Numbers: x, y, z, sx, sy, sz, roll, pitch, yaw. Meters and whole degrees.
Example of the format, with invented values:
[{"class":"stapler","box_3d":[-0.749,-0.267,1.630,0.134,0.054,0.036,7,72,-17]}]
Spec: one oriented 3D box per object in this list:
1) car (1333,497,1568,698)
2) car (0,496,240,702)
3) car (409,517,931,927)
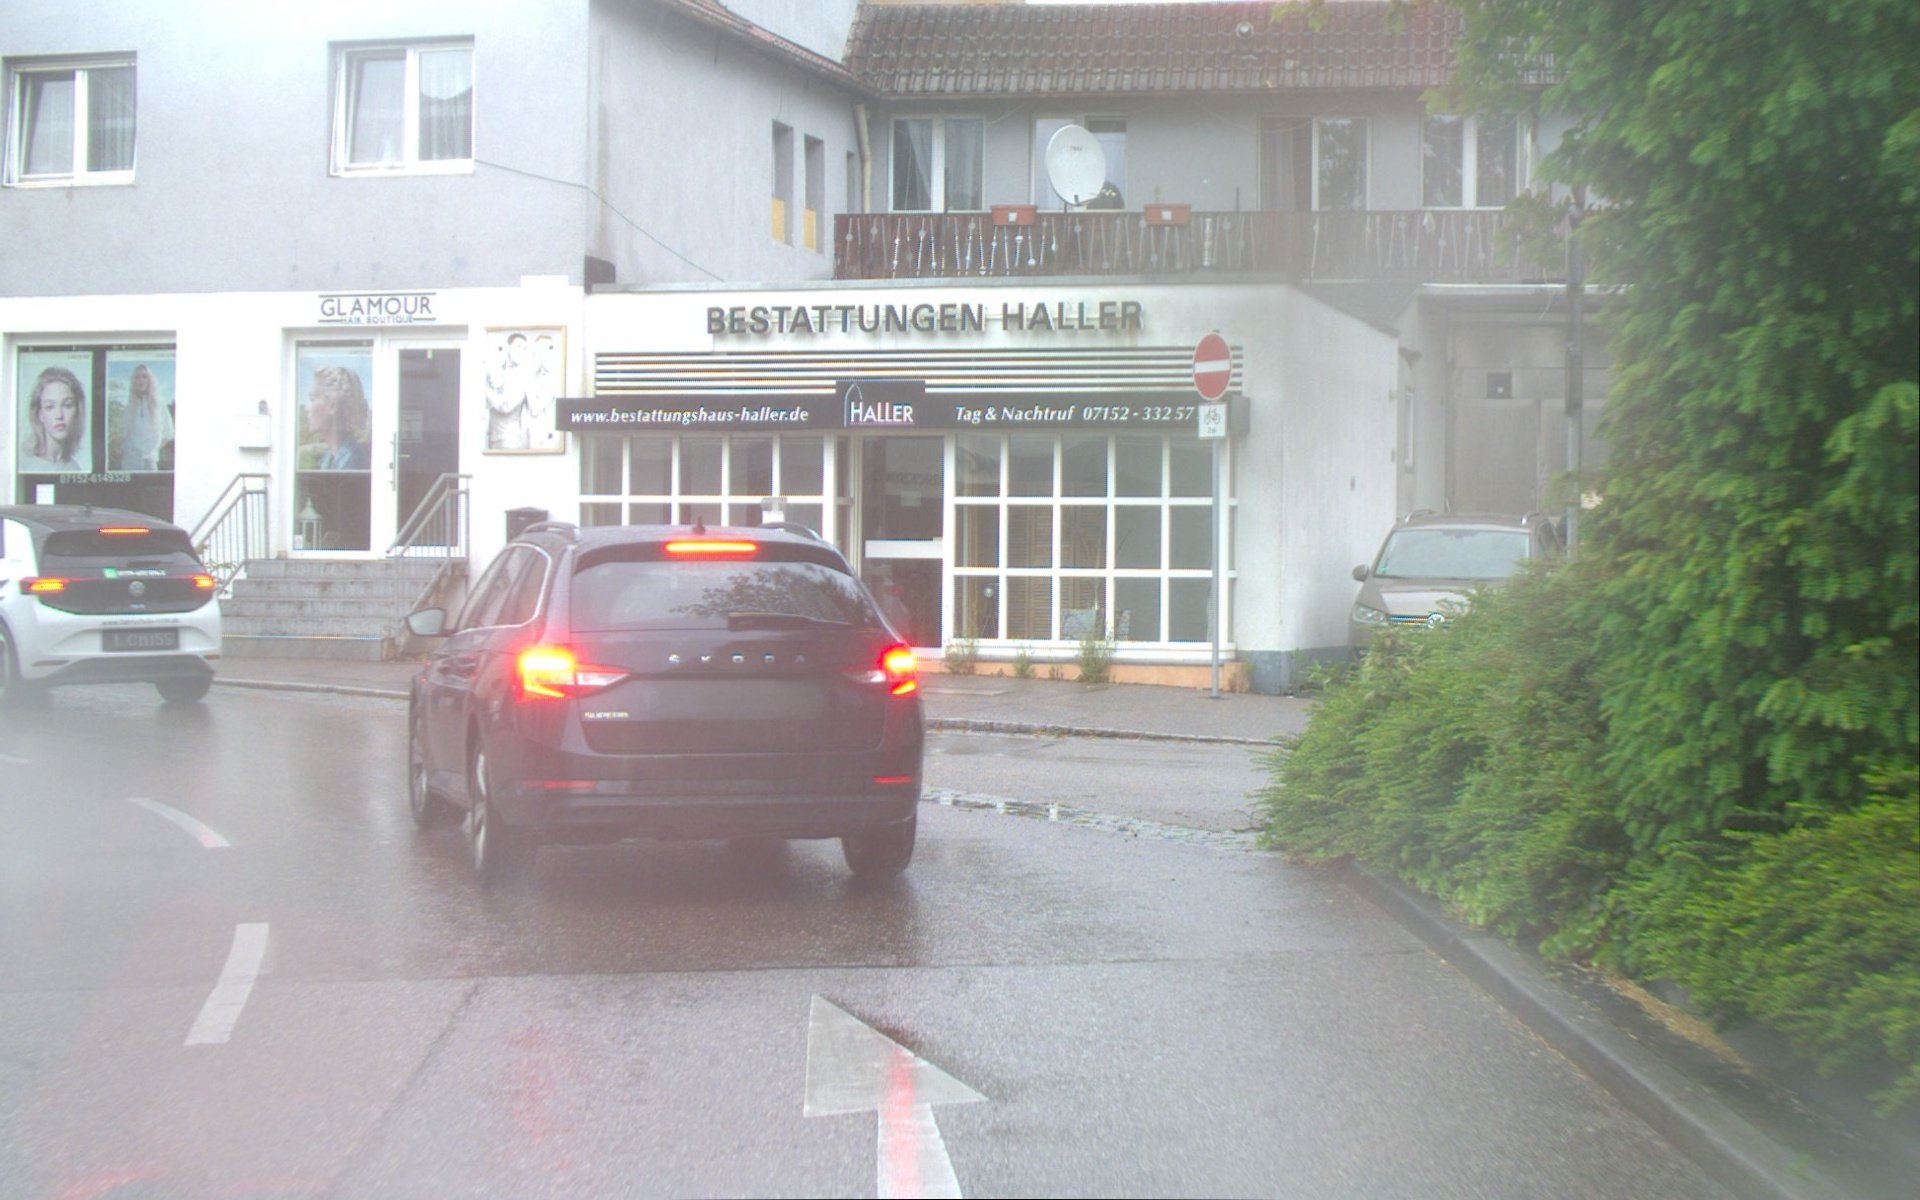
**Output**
[{"class":"car","box_3d":[4.812,-0.095,33.218,1.924,1.722,4.666,1,3,12]},{"class":"car","box_3d":[-7.626,-0.074,27.656,1.789,1.512,4.240,-2,3,-40]},{"class":"car","box_3d":[-1.415,0.408,15.058,1.731,1.445,4.243,0,2,-12]}]
